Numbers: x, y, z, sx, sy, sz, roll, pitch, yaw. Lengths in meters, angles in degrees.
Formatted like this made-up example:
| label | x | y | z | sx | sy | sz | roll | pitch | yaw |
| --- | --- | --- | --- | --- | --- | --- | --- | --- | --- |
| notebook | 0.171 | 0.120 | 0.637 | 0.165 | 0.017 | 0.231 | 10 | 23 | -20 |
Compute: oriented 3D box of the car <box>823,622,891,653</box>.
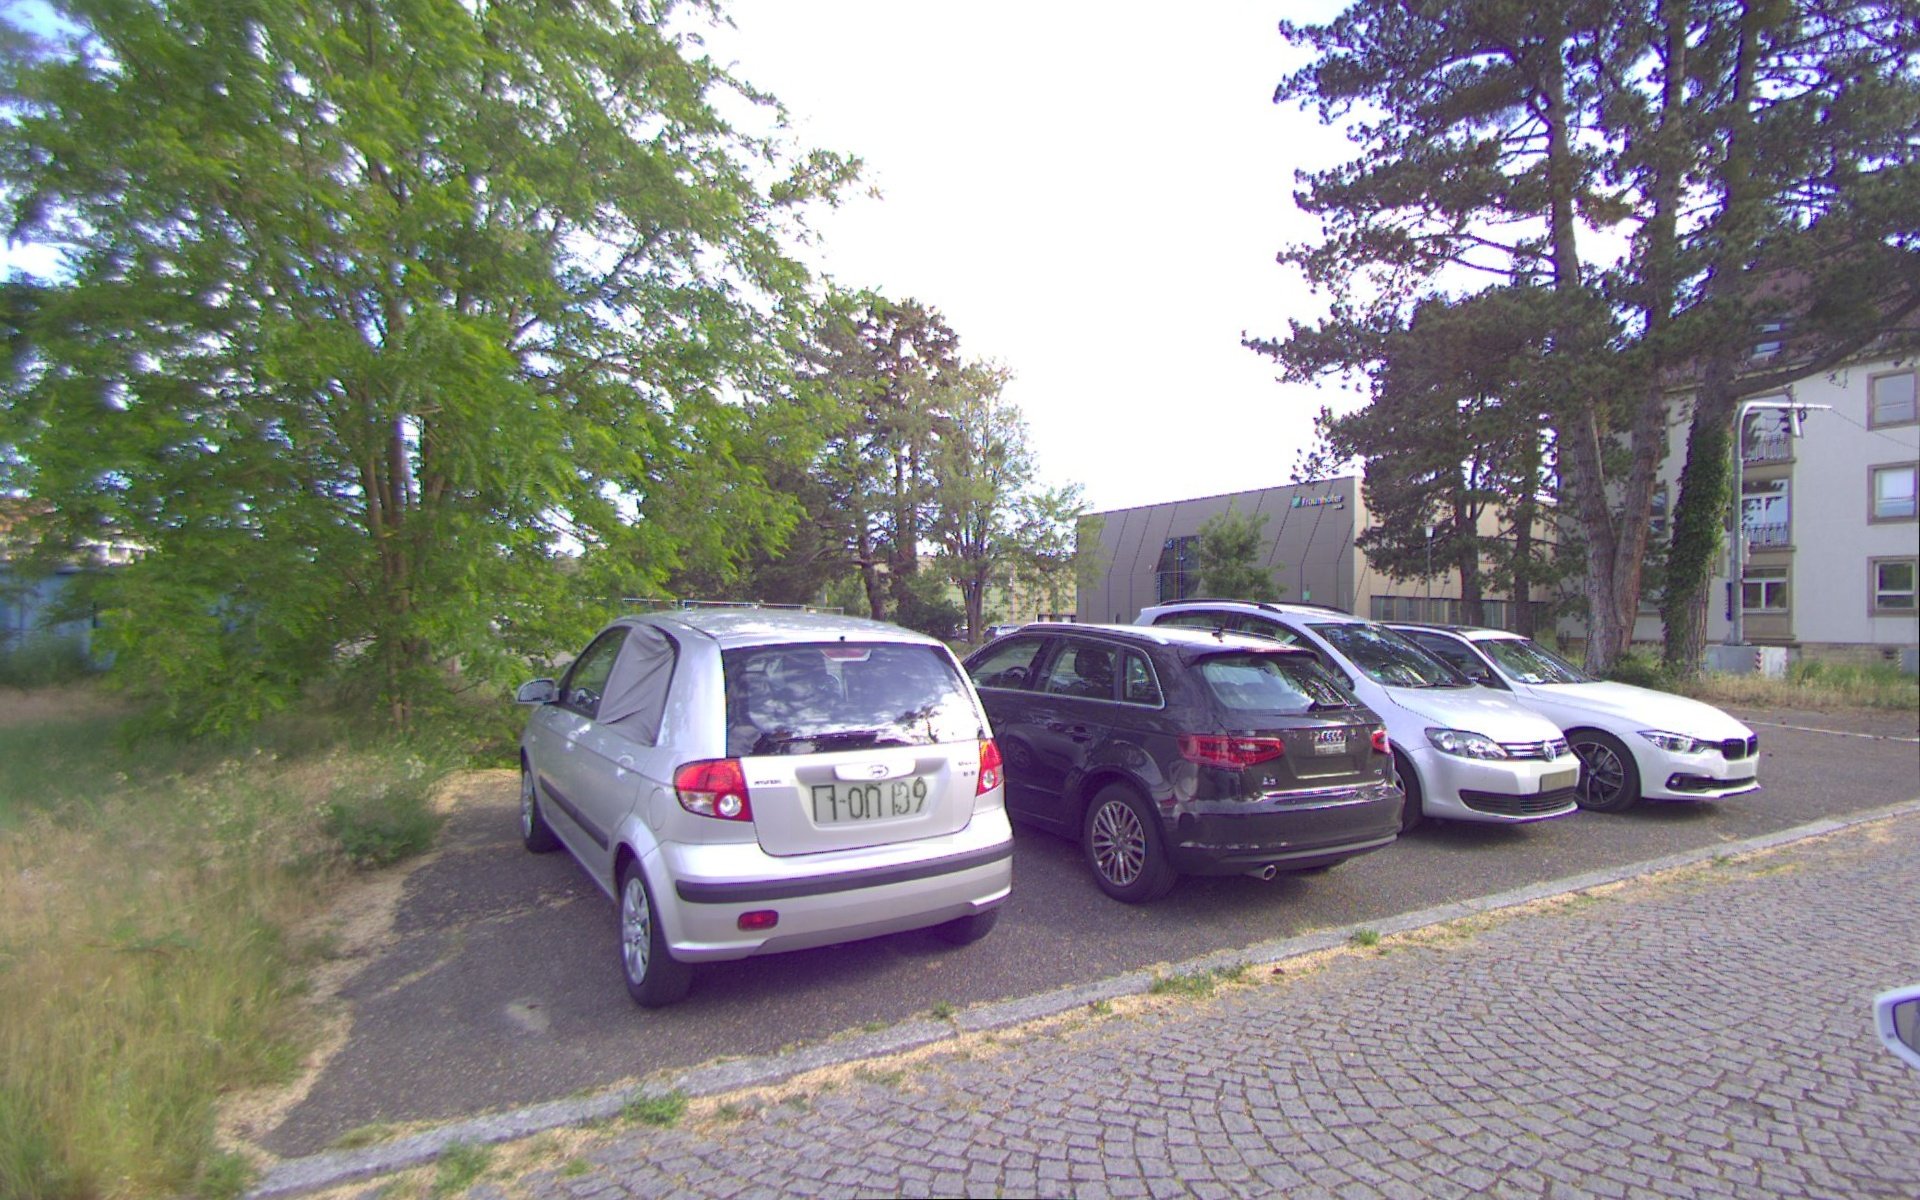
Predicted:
| label | x | y | z | sx | sy | sz | roll | pitch | yaw |
| --- | --- | --- | --- | --- | --- | --- | --- | --- | --- |
| car | -4.845 | 1.737 | 46.966 | 1.576 | 1.355 | 3.706 | 1 | -2 | -35 |

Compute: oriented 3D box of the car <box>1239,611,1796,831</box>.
| label | x | y | z | sx | sy | sz | roll | pitch | yaw |
| --- | --- | --- | --- | --- | --- | --- | --- | --- | --- |
| car | 5.114 | 0.945 | 9.896 | 1.811 | 1.461 | 4.450 | 1 | 1 | -33 |

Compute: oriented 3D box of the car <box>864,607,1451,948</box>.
| label | x | y | z | sx | sy | sz | roll | pitch | yaw |
| --- | --- | --- | --- | --- | --- | --- | --- | --- | --- |
| car | 0.971 | 0.849 | 6.700 | 1.677 | 1.427 | 3.814 | 1 | 1 | -32 |

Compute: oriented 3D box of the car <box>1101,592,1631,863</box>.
| label | x | y | z | sx | sy | sz | roll | pitch | yaw |
| --- | --- | --- | --- | --- | --- | --- | --- | --- | --- |
| car | 3.098 | 0.810 | 8.413 | 1.717 | 1.629 | 3.809 | 1 | 1 | -33 |

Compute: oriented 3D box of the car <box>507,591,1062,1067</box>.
| label | x | y | z | sx | sy | sz | roll | pitch | yaw |
| --- | --- | --- | --- | --- | --- | --- | --- | --- | --- |
| car | -1.223 | 0.770 | 5.292 | 1.629 | 1.495 | 3.556 | 1 | 1 | -32 |

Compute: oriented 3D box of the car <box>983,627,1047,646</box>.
| label | x | y | z | sx | sy | sz | roll | pitch | yaw |
| --- | --- | --- | --- | --- | --- | --- | --- | --- | --- |
| car | 3.774 | 2.499 | 68.895 | 4.144 | 1.289 | 1.600 | 1 | -1 | -28 |

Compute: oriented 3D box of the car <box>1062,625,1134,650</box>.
| label | x | y | z | sx | sy | sz | roll | pitch | yaw |
| --- | --- | --- | --- | --- | --- | --- | --- | --- | --- |
| car | 8.383 | 2.264 | 61.095 | 4.079 | 1.433 | 1.752 | 1 | -1 | -28 |
